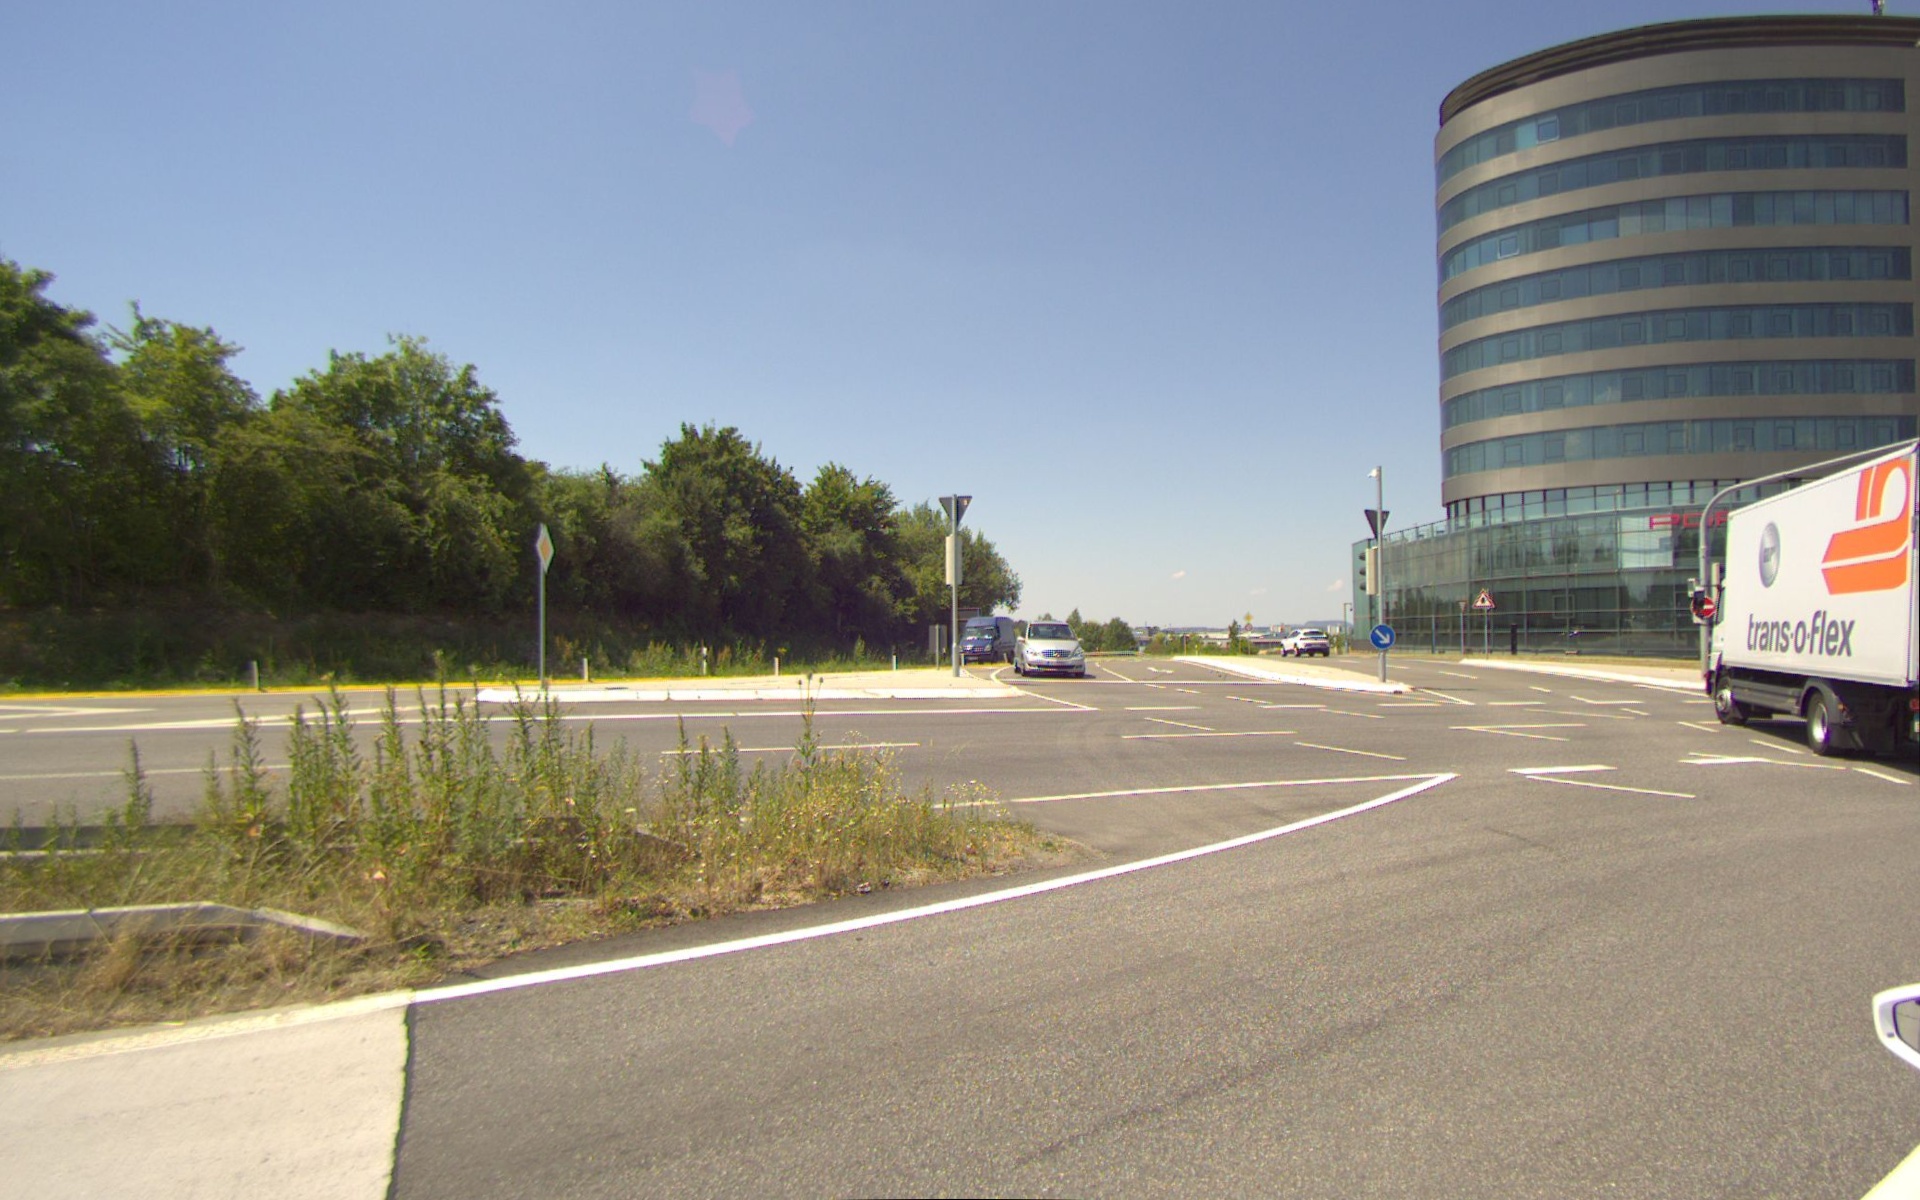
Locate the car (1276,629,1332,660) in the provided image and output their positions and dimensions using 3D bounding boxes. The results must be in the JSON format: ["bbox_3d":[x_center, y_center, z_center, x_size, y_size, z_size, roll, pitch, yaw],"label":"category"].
[{"bbox_3d":[19.119,2.461,56.013,1.772,1.577,4.001,2,-1,1],"label":"car"}]

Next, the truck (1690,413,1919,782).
[{"bbox_3d":[13.196,0.193,14.366,2.726,3.910,9.364,1,-2,25],"label":"truck"}]

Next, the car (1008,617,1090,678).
[{"bbox_3d":[2.515,1.405,29.362,1.743,1.616,4.329,2,-3,-3],"label":"car"}]

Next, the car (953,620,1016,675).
[{"bbox_3d":[1.409,2.499,53.865,2.024,2.740,5.900,1,-1,14],"label":"car"}]
